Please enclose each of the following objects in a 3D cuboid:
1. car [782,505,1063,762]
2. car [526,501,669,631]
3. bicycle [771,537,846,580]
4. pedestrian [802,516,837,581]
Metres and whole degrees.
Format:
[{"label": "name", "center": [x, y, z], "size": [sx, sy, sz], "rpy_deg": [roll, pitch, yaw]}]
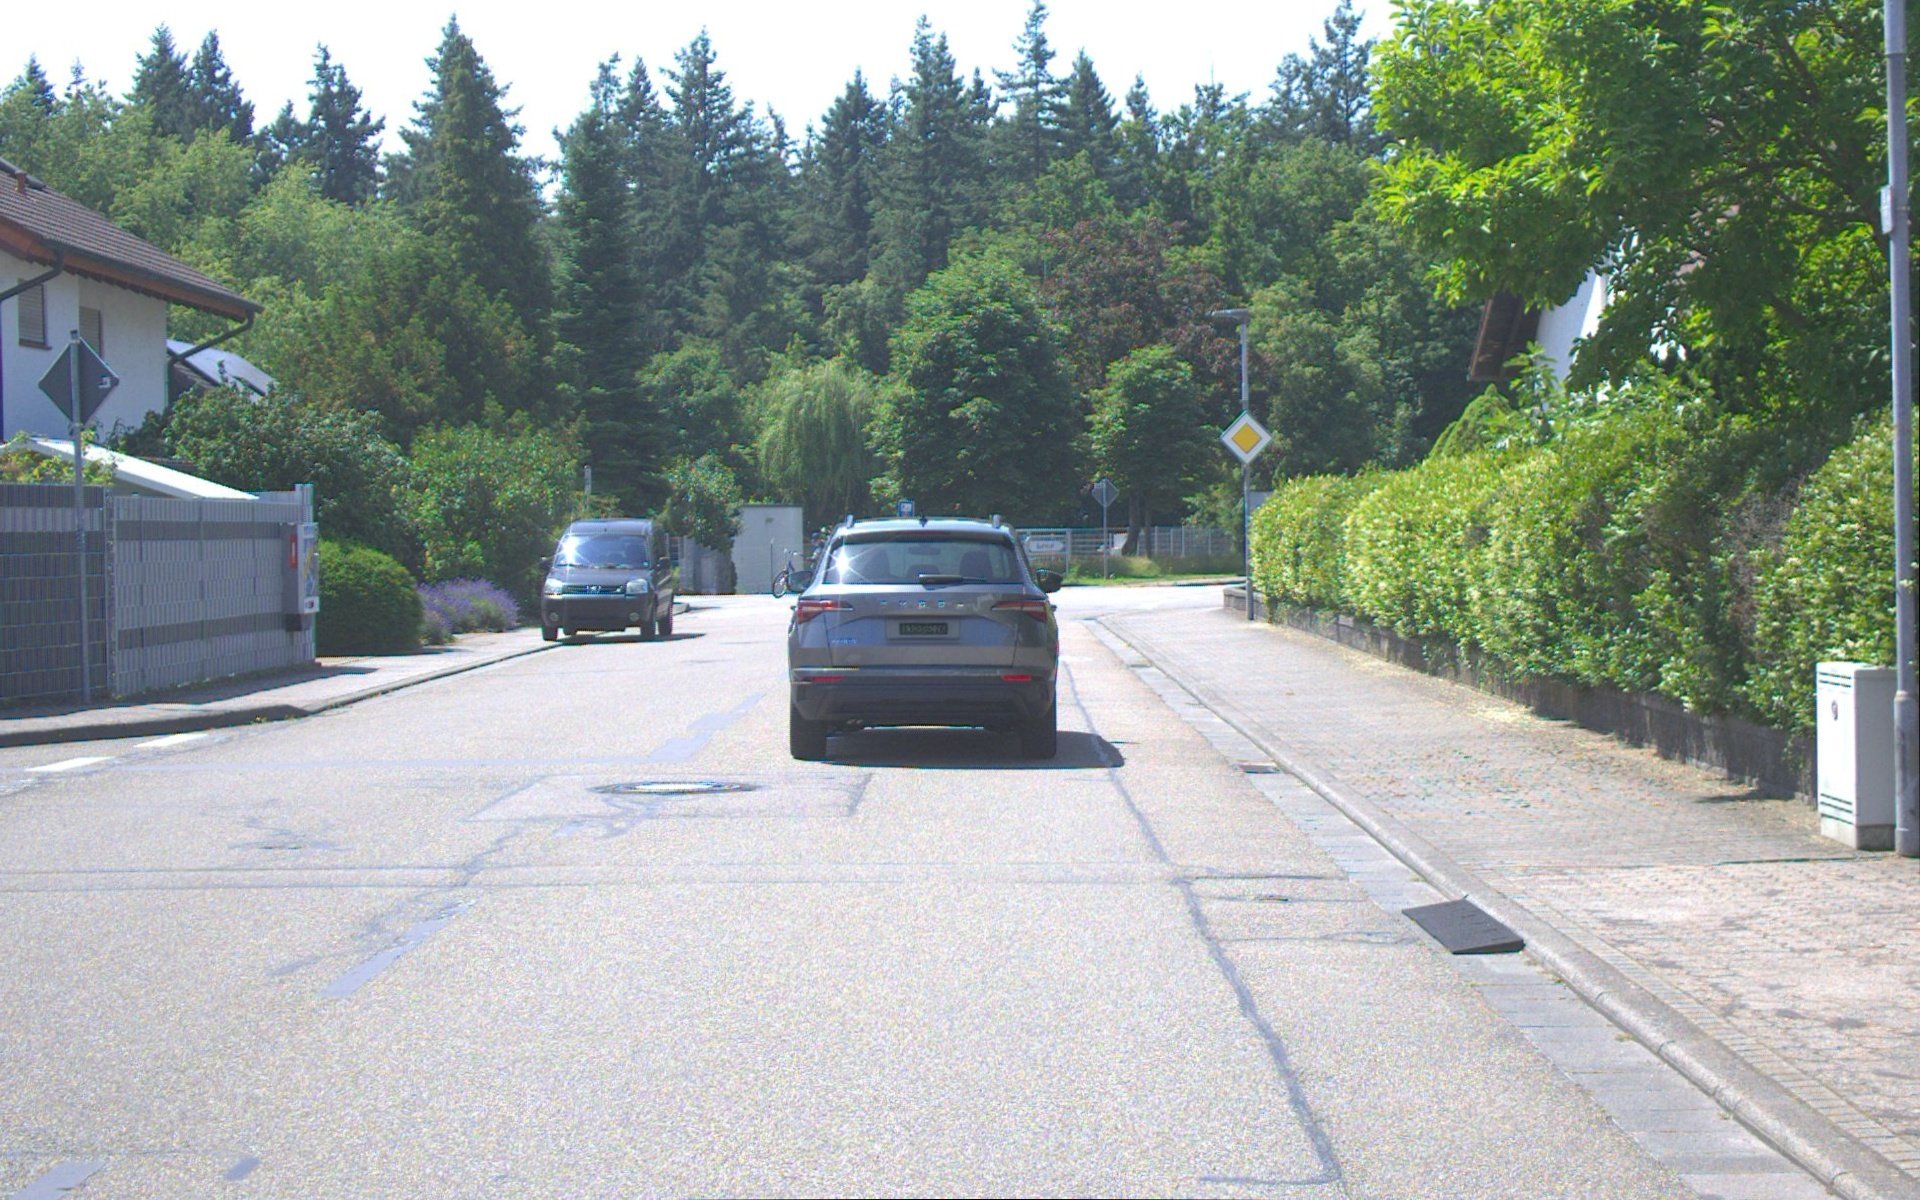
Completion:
[{"label": "car", "center": [-0.254, 0.173, 23.868], "size": [1.762, 1.612, 4.000], "rpy_deg": [1, 1, 0]}, {"label": "car", "center": [-5.380, -0.532, 51.382], "size": [1.718, 1.839, 4.055], "rpy_deg": [-1, 1, 0]}, {"label": "bicycle", "center": [-3.494, -0.960, 79.423], "size": [1.843, 0.960, 0.443], "rpy_deg": [-2, 2, -40]}, {"label": "pedestrian", "center": [-3.226, -1.182, 79.001], "size": [0.610, 1.495, 0.504], "rpy_deg": [-1, 1, -39]}]
